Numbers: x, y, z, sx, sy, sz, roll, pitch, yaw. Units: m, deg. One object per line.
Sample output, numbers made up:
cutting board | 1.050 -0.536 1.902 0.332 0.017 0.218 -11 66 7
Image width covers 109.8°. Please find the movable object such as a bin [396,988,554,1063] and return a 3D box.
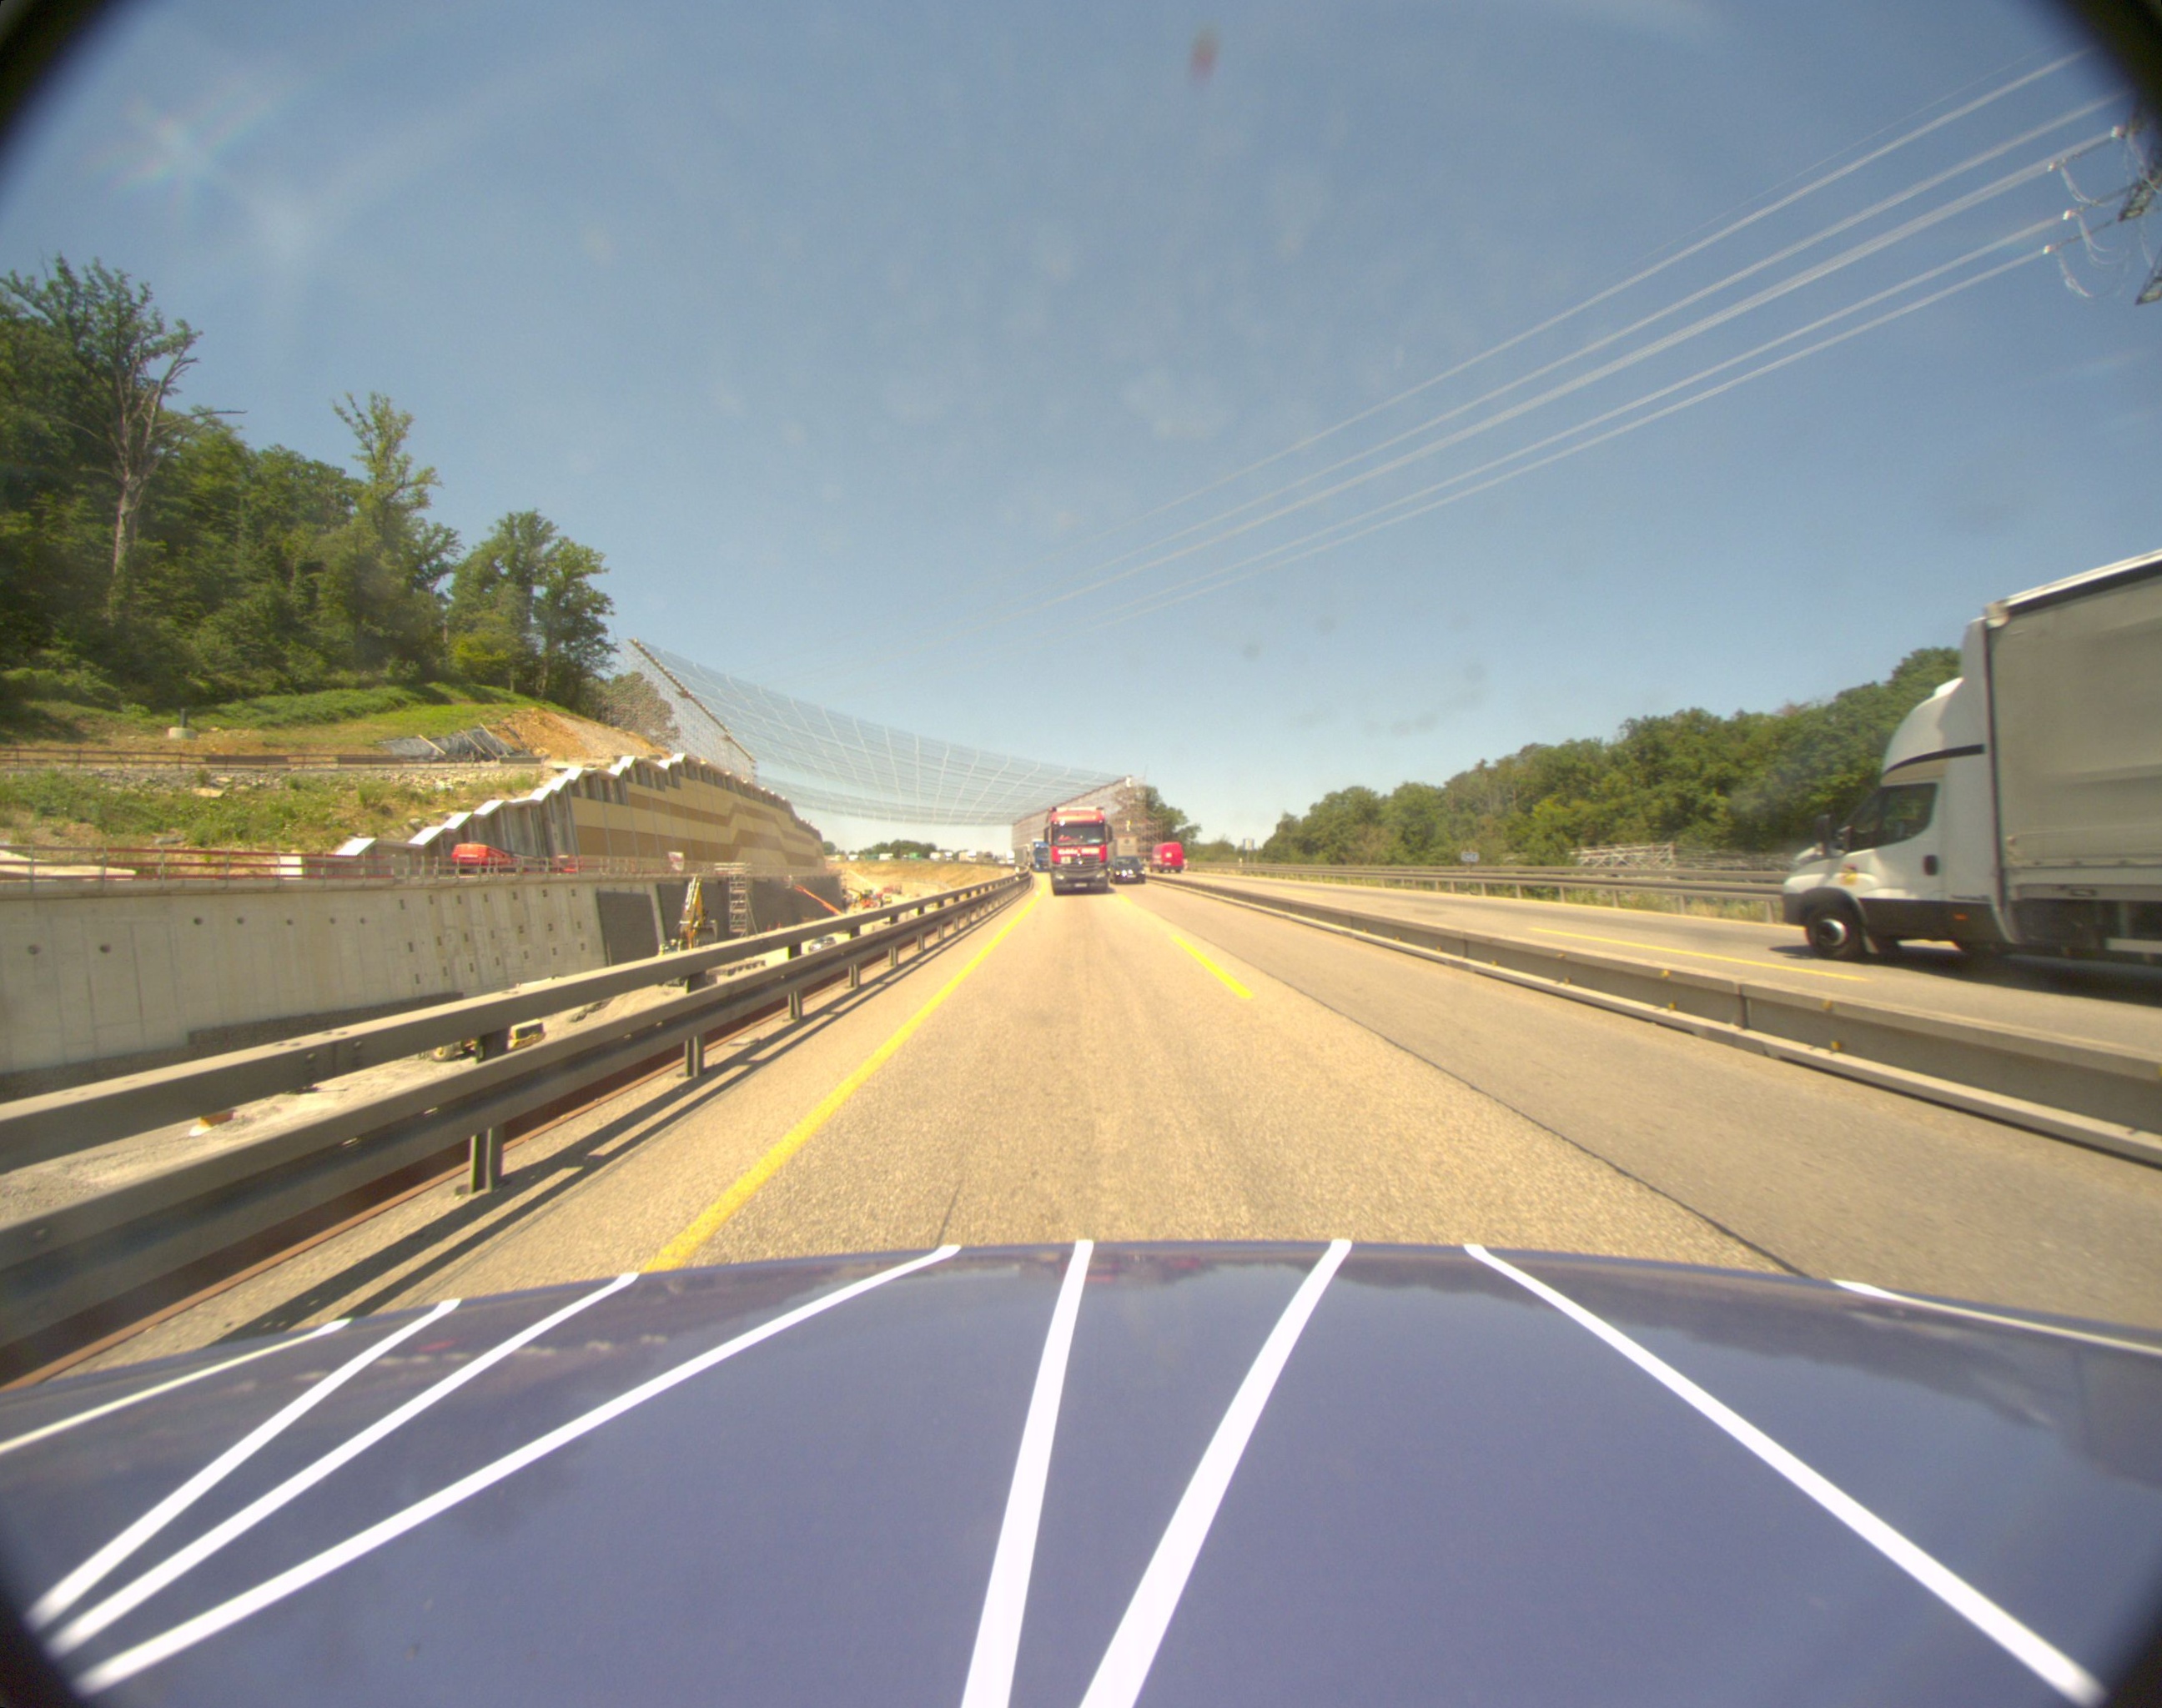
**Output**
movable object such as a bin | -26.002 7.340 32.721 5.118 2.577 2.060 -2 0 2

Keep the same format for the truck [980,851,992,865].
truck | -27.814 1.110 223.369 3.042 4.033 8.670 -2 1 -5

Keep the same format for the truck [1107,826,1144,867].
truck | 5.812 -0.987 100.868 3.220 4.982 11.257 -2 1 -5

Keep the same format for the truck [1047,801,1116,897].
truck | -0.064 -0.279 37.570 2.798 3.986 10.427 -2 1 -1

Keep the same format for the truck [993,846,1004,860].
truck | -26.211 -0.398 240.888 3.043 4.236 8.936 -2 1 -7

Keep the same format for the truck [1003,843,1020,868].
truck | -13.756 0.309 151.119 3.042 4.777 8.937 -2 1 -5

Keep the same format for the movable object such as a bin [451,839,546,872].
movable object such as a bin | -38.505 0.087 50.449 2.081 2.002 5.354 -2 1 0

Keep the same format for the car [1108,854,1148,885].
car | 2.782 0.915 46.102 1.862 1.695 5.303 -2 -1 -3

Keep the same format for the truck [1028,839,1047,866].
truck | -7.493 -0.300 129.379 2.910 4.207 9.237 -2 1 -4

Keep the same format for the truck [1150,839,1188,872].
truck | 8.078 0.123 70.505 2.211 2.847 6.495 -2 1 -5

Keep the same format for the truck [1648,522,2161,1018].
truck | 10.083 -0.716 6.438 2.807 3.977 10.552 -2 1 1

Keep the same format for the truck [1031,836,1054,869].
truck | -5.022 -0.226 99.078 2.672 3.986 10.426 -2 1 -3

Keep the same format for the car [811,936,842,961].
car | -26.123 9.667 78.144 1.999 2.002 3.998 -2 1 -5

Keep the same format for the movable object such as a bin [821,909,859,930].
movable object such as a bin | -33.703 9.154 106.288 5.485 2.621 2.224 -2 1 38

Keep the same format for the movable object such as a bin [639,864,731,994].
movable object such as a bin | -24.371 4.395 47.187 2.935 7.310 6.234 -2 1 -9
